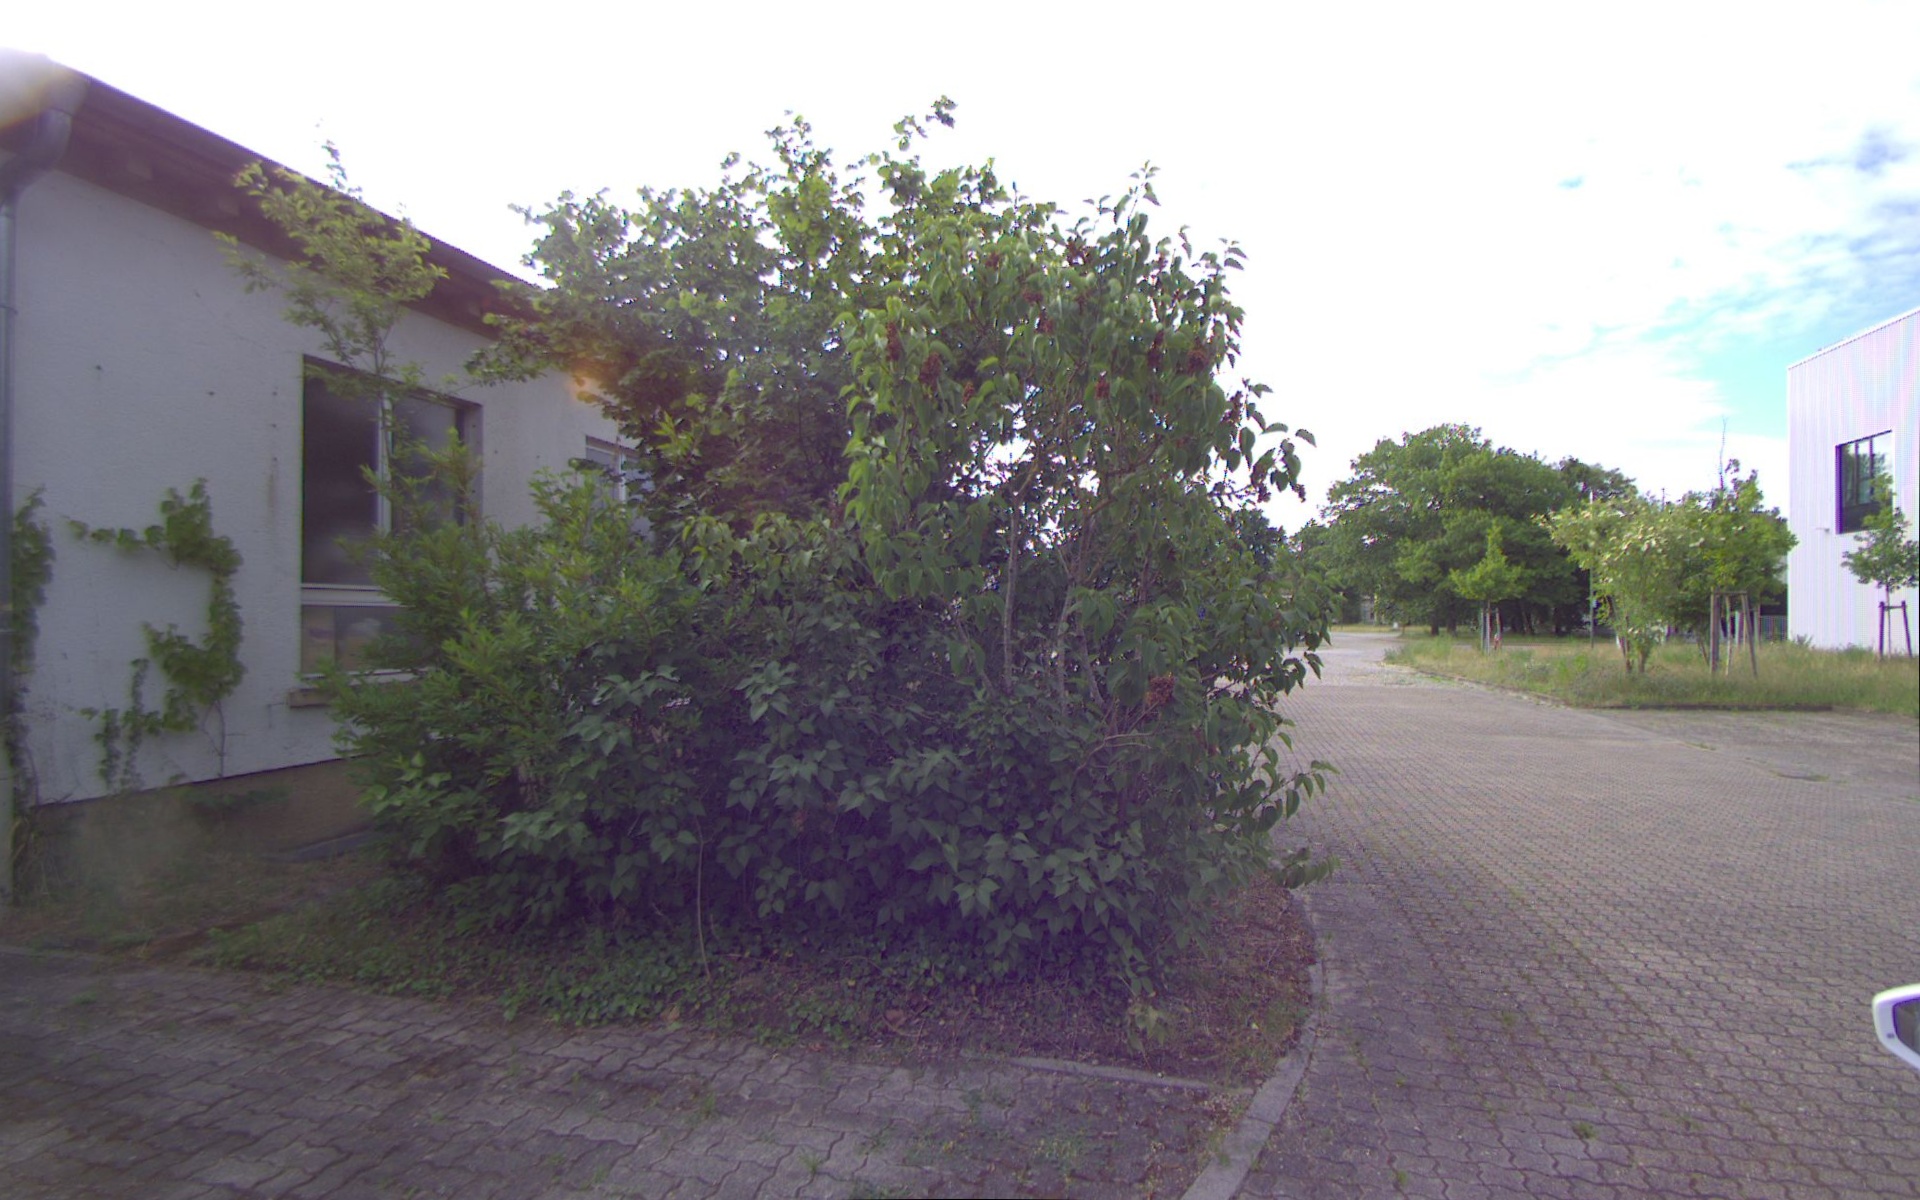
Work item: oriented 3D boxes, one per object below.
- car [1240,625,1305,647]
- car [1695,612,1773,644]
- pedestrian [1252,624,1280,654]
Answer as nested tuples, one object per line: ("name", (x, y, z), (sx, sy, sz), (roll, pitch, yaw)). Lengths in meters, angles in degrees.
("car", (22.886, 2.624, 73.563), (4.458, 1.620, 2.001), (-1, -1, 18))
("car", (52.476, 1.897, 68.287), (2.203, 2.040, 5.340), (-1, -2, 14))
("pedestrian", (15.935, 2.027, 52.328), (1.062, 1.577, 1.070), (-1, -2, 39))
